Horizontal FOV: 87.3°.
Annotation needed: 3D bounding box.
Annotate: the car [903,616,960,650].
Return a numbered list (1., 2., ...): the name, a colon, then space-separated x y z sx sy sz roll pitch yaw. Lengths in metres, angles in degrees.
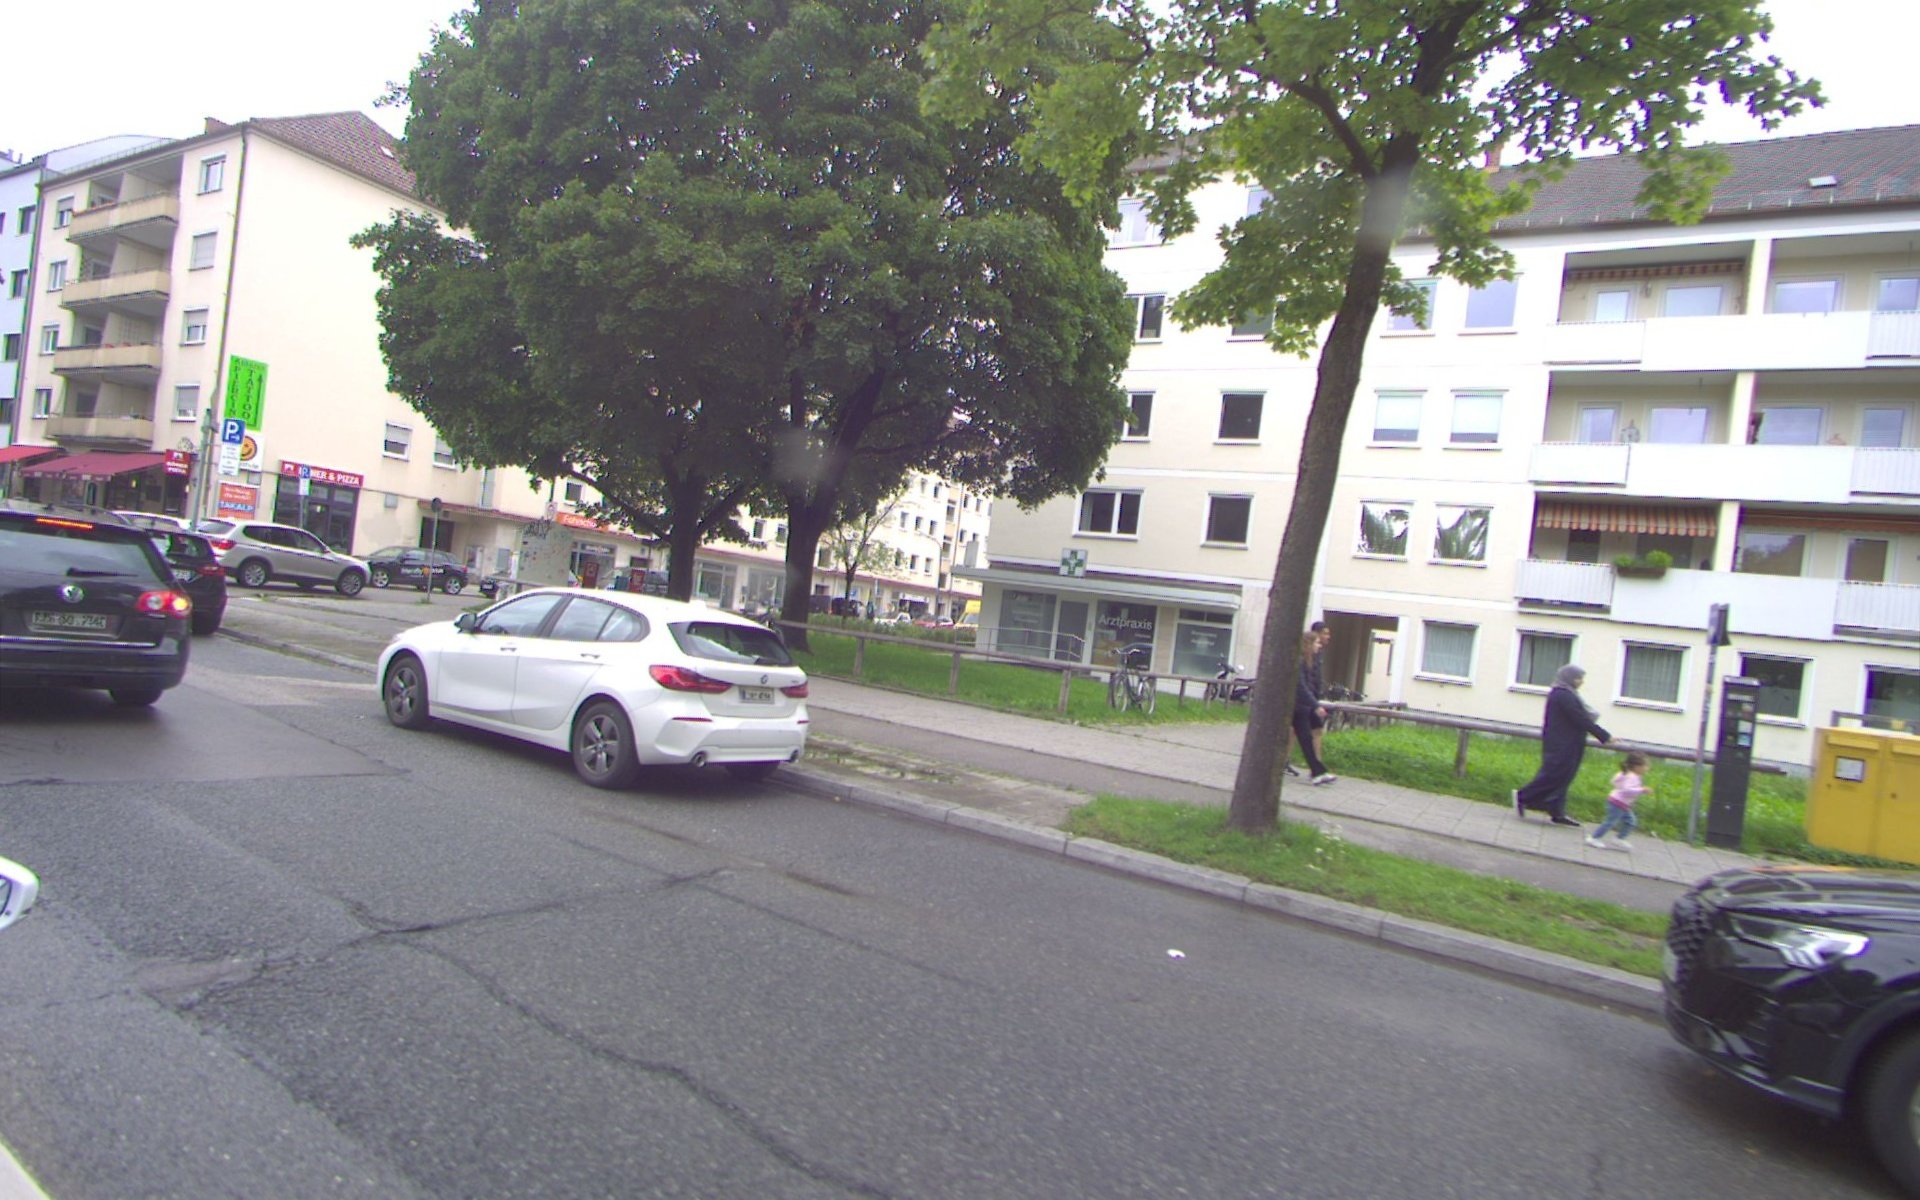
1. car: -1.824 2.189 66.061 1.839 1.679 4.088 7 -2 27

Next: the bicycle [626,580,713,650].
1. bicycle: -5.581 0.272 19.274 1.823 1.118 0.389 7 -1 33

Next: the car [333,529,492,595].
1. car: -18.704 -1.264 34.576 1.839 1.681 4.402 7 0 27

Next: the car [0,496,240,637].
1. car: -11.920 -0.492 14.056 3.613 1.482 1.621 7 -2 32

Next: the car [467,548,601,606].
1. car: -16.257 -0.827 38.617 1.839 1.681 4.401 7 0 29

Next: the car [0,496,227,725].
1. car: -7.769 -0.121 7.808 4.368 1.449 1.734 7 -2 32

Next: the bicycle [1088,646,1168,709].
1. bicycle: 2.907 1.351 17.273 0.549 0.950 1.880 7 -2 33

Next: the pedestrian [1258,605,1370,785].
1. pedestrian: 4.103 1.073 11.660 0.904 1.913 0.730 7 1 31

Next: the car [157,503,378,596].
1. car: -17.890 -1.239 26.266 1.836 1.679 4.412 8 -2 17

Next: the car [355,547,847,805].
1. car: -3.198 0.574 8.743 4.068 1.481 1.687 7 -3 31

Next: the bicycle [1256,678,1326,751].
1. bicycle: 4.966 1.712 15.028 0.426 0.985 1.880 7 -2 33

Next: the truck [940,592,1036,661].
1. truck: 1.762 1.651 58.974 2.318 3.282 7.425 7 -2 27

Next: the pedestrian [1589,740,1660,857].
1. pedestrian: 6.148 1.821 9.317 0.428 0.961 0.408 7 1 31

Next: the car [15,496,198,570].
1. car: -22.884 -1.787 27.159 3.530 1.434 1.852 8 0 -37

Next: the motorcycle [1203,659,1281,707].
1. motorcycle: 7.766 2.278 27.746 1.875 1.035 0.605 7 -1 33

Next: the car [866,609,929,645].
1. car: -3.826 1.698 62.089 1.839 1.679 4.088 7 -2 27

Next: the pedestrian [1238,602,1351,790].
1. pedestrian: 3.697 1.035 11.121 0.887 1.913 0.588 7 1 31

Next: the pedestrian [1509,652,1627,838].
1. pedestrian: 6.180 1.442 10.263 0.821 1.702 0.839 7 1 31

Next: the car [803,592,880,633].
1. car: -6.623 0.734 56.723 1.839 1.679 4.750 7 -2 27

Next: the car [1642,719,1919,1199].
1. car: 4.956 1.522 3.354 4.205 1.550 1.720 7 -2 32

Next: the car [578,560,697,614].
1. car: -13.845 -0.501 43.411 1.840 1.795 4.742 7 0 30

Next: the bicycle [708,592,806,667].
1. bicycle: -3.664 0.512 18.084 1.853 1.116 0.382 7 -1 33
